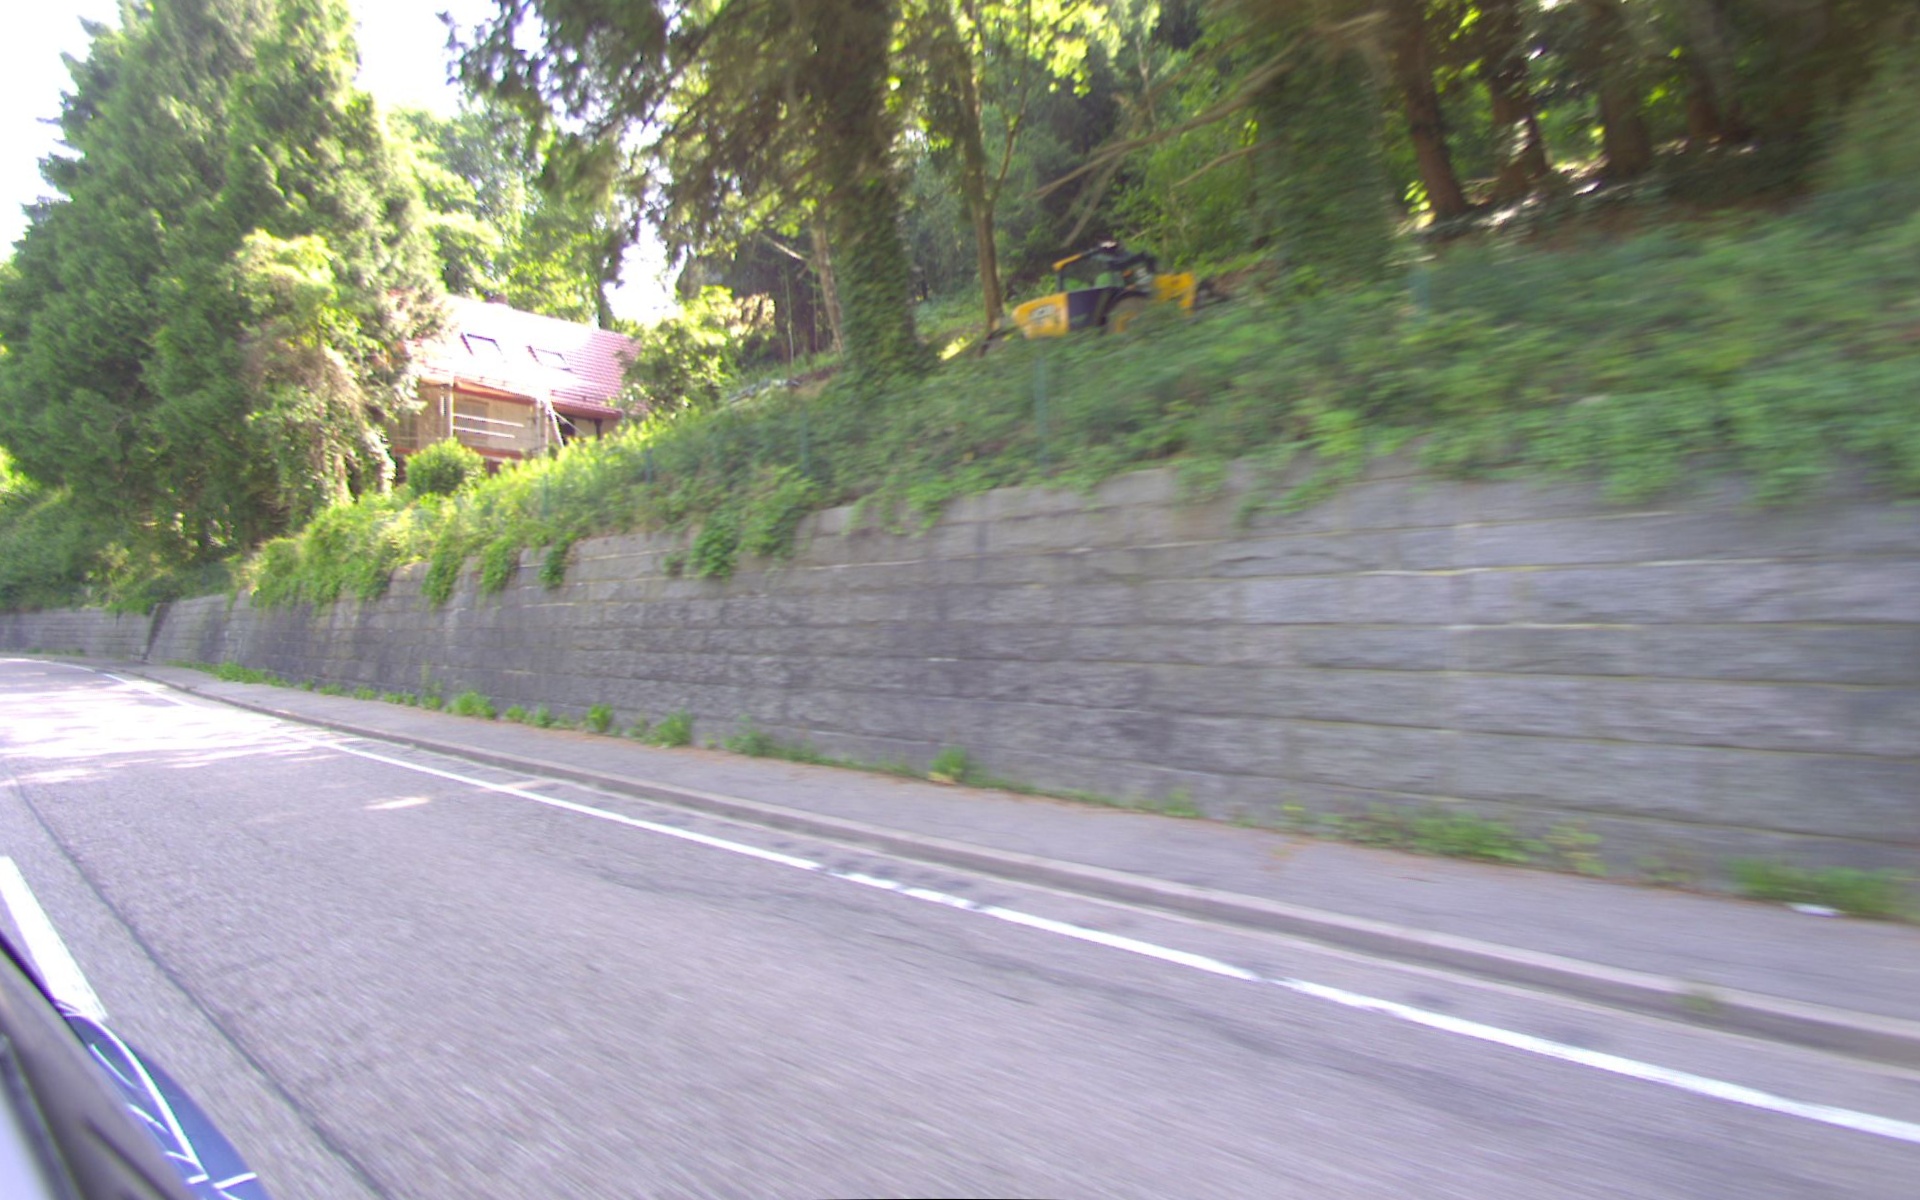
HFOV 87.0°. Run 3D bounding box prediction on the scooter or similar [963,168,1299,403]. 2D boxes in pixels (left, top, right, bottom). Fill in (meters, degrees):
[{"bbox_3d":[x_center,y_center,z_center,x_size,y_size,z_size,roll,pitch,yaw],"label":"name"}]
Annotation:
[{"bbox_3d":[2.329,-4.282,14.630,1.955,2.041,4.408,-5,3,-44],"label":"scooter or similar"}]
